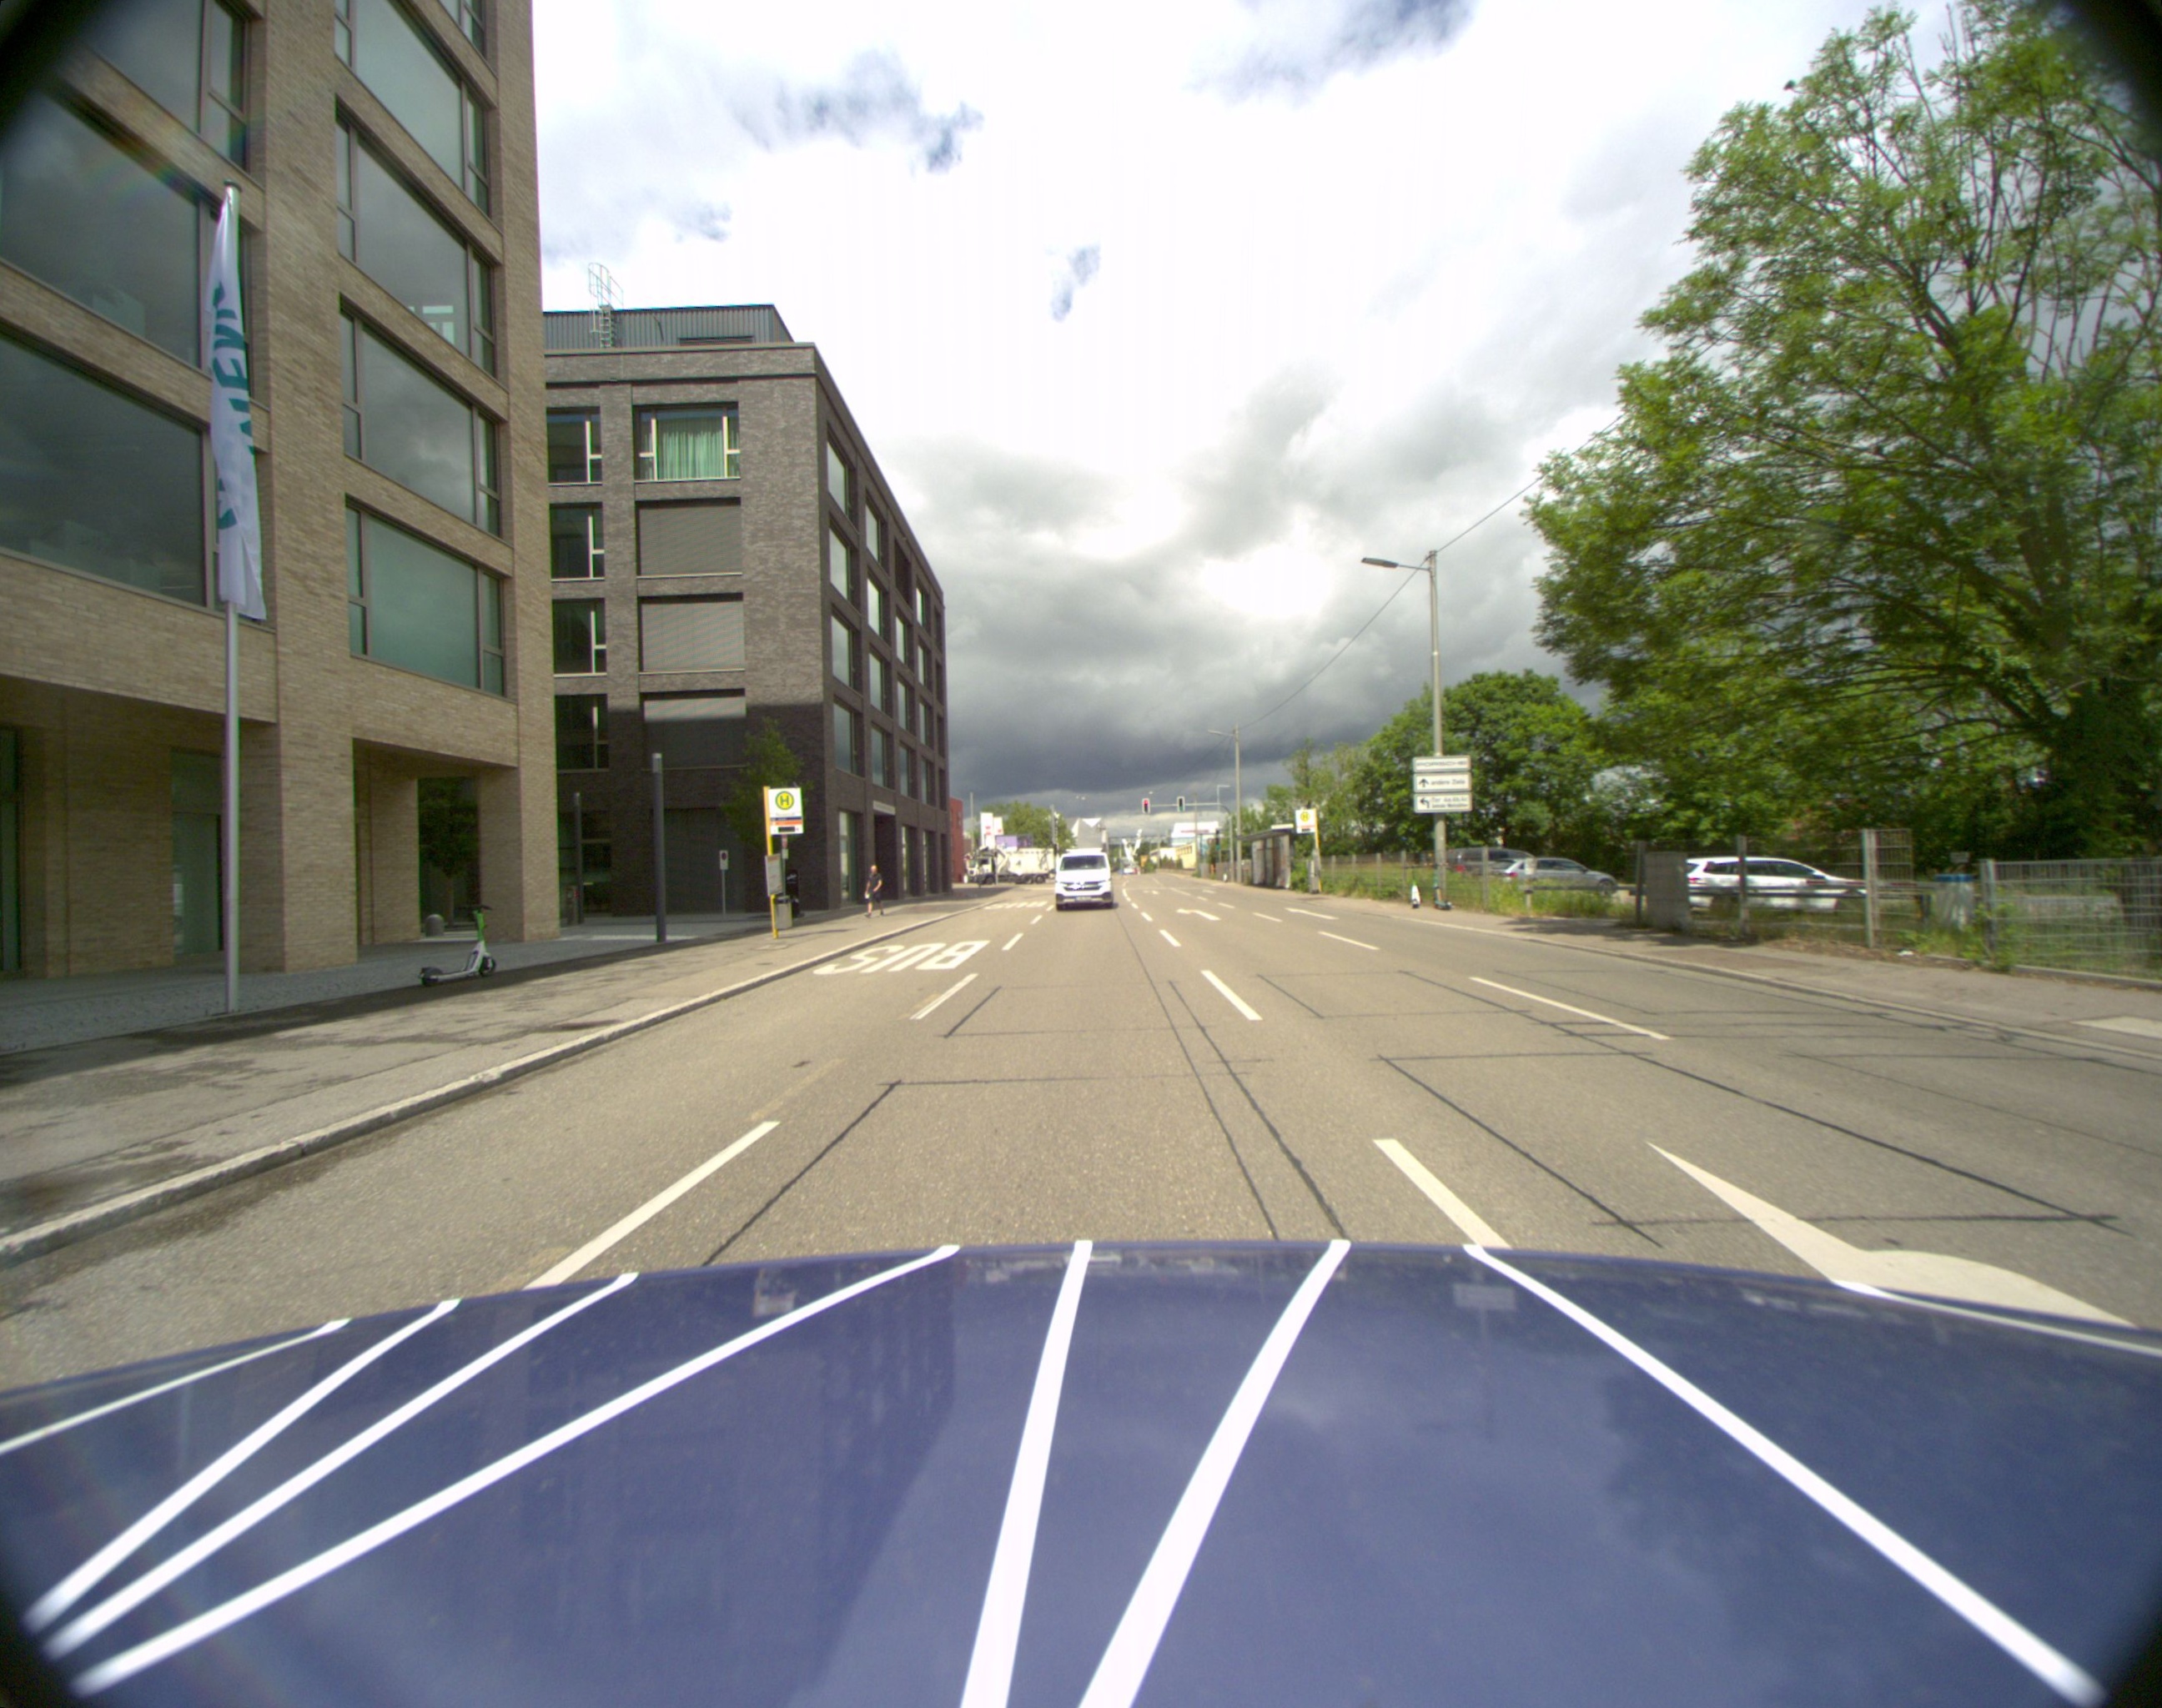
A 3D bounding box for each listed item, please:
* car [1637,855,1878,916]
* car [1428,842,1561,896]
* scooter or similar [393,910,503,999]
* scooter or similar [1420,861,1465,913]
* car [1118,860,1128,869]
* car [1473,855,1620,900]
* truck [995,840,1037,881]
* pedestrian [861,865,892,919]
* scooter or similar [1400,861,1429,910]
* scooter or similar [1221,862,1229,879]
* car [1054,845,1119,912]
[{"bbox_3d":[17.025,0.769,19.315,4.285,1.373,1.867,-1,0,6],"label":"car"},{"bbox_3d":[16.856,0.589,31.113,4.289,2.002,2.140,-1,0,-6],"label":"car"},{"bbox_3d":[-9.434,1.460,11.393,0.428,1.146,1.403,-1,0,1],"label":"scooter or similar"},{"bbox_3d":[9.303,0.829,19.613,0.536,1.258,1.472,-3,0,7],"label":"scooter or similar"},{"bbox_3d":[8.273,2.096,149.784,1.870,1.781,4.209,-1,-1,1],"label":"car"},{"bbox_3d":[16.861,0.816,27.653,4.289,1.478,1.909,-1,0,-7],"label":"car"},{"bbox_3d":[-6.560,0.608,78.434,2.835,3.889,10.368,-1,0,3],"label":"truck"},{"bbox_3d":[-6.792,1.249,25.320,0.685,1.717,0.962,-2,0,1],"label":"pedestrian"},{"bbox_3d":[9.247,0.852,21.114,0.535,1.255,1.473,-3,0,19],"label":"scooter or similar"},{"bbox_3d":[10.960,1.249,57.963,0.424,1.203,1.127,-3,-1,6],"label":"scooter or similar"},{"bbox_3d":[0.288,0.777,26.341,1.935,2.078,4.209,-1,0,4],"label":"car"}]
